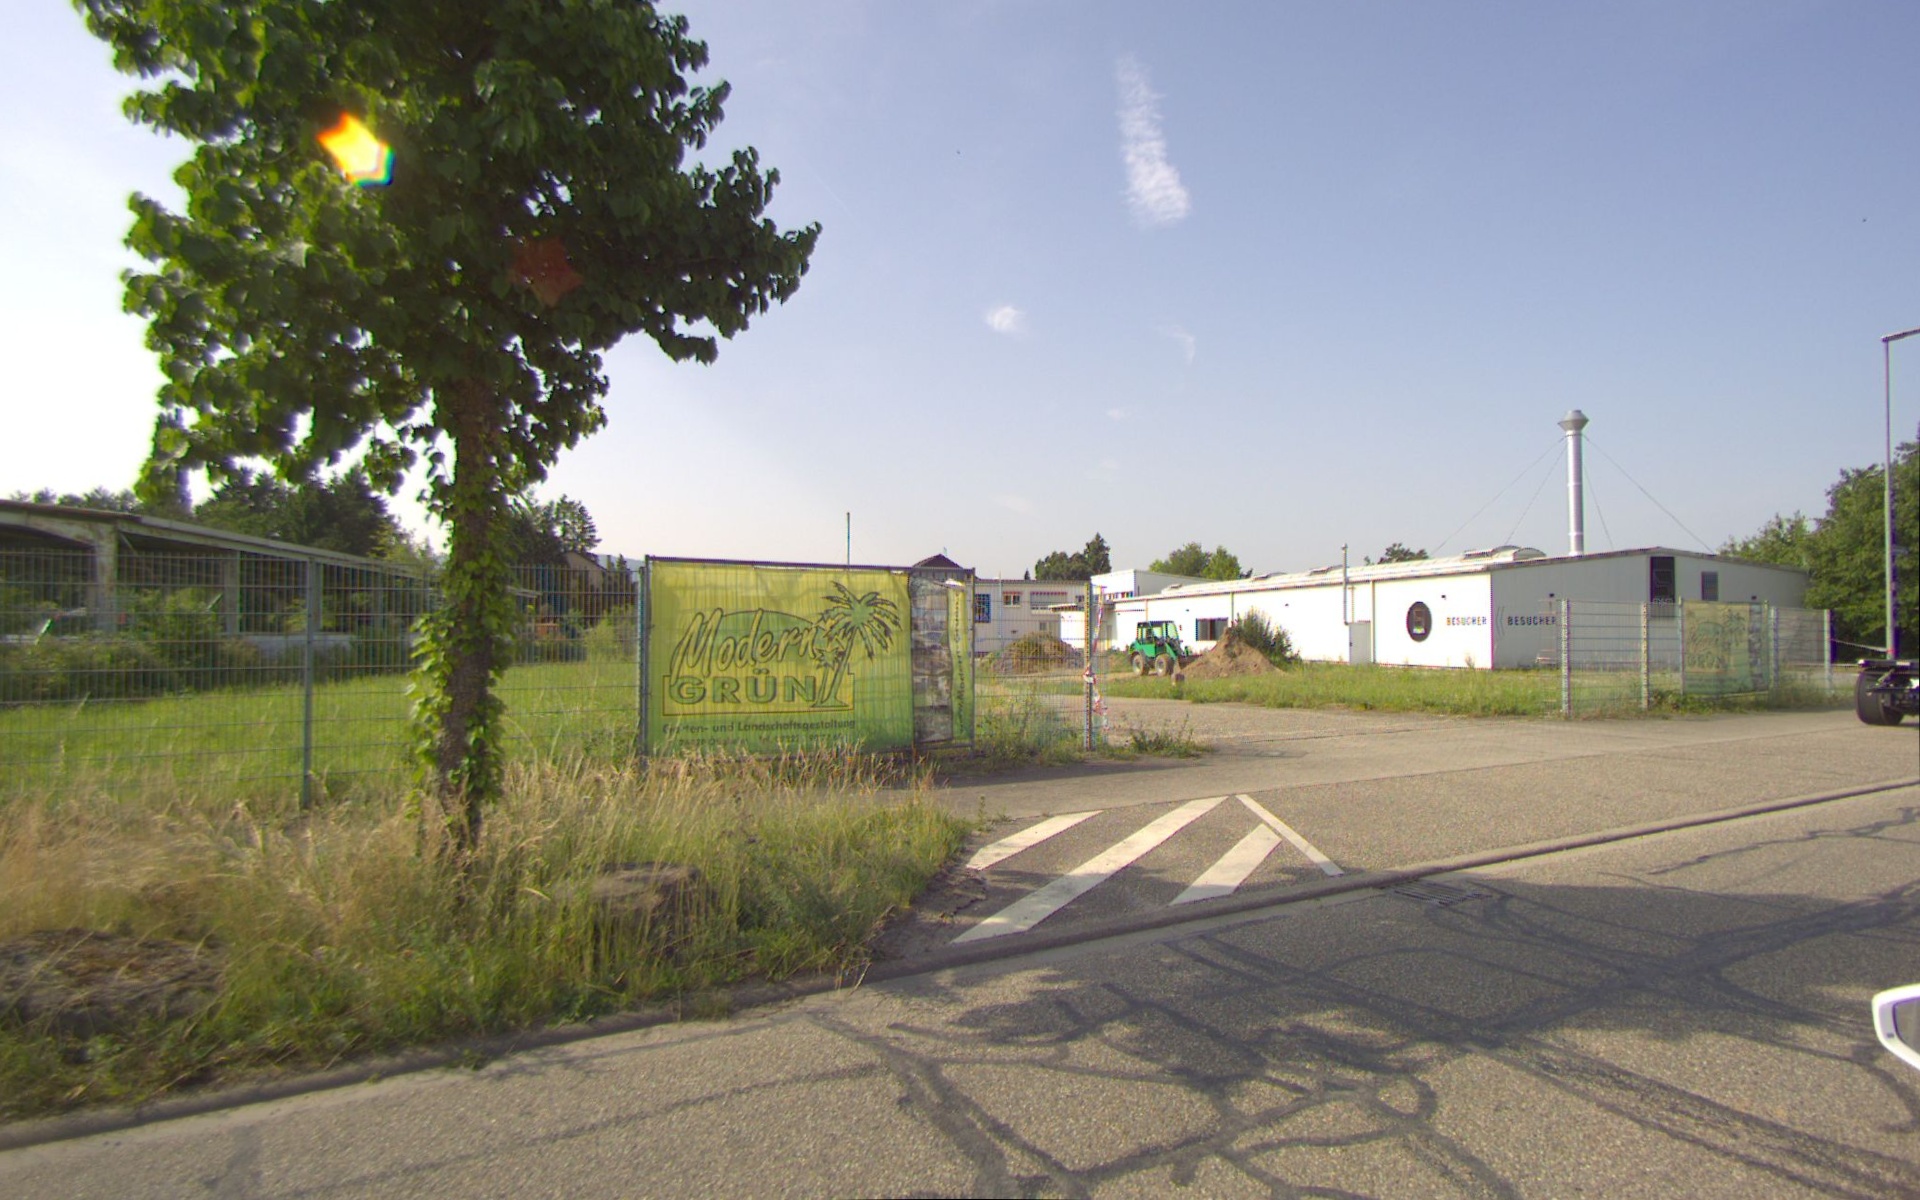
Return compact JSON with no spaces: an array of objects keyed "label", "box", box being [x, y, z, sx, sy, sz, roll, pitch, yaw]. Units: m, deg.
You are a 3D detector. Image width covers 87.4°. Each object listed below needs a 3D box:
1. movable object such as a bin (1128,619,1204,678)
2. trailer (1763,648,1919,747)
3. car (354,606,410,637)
[{"label":"movable object such as a bin","box":[9.067,2.139,44.542,2.209,2.488,4.304,0,-2,-4]},{"label":"trailer","box":[16.407,1.419,15.993,9.254,1.200,2.570,1,-1,-31]},{"label":"car","box":[-35.598,1.365,61.921,1.715,1.831,3.897,0,-2,-10]}]
